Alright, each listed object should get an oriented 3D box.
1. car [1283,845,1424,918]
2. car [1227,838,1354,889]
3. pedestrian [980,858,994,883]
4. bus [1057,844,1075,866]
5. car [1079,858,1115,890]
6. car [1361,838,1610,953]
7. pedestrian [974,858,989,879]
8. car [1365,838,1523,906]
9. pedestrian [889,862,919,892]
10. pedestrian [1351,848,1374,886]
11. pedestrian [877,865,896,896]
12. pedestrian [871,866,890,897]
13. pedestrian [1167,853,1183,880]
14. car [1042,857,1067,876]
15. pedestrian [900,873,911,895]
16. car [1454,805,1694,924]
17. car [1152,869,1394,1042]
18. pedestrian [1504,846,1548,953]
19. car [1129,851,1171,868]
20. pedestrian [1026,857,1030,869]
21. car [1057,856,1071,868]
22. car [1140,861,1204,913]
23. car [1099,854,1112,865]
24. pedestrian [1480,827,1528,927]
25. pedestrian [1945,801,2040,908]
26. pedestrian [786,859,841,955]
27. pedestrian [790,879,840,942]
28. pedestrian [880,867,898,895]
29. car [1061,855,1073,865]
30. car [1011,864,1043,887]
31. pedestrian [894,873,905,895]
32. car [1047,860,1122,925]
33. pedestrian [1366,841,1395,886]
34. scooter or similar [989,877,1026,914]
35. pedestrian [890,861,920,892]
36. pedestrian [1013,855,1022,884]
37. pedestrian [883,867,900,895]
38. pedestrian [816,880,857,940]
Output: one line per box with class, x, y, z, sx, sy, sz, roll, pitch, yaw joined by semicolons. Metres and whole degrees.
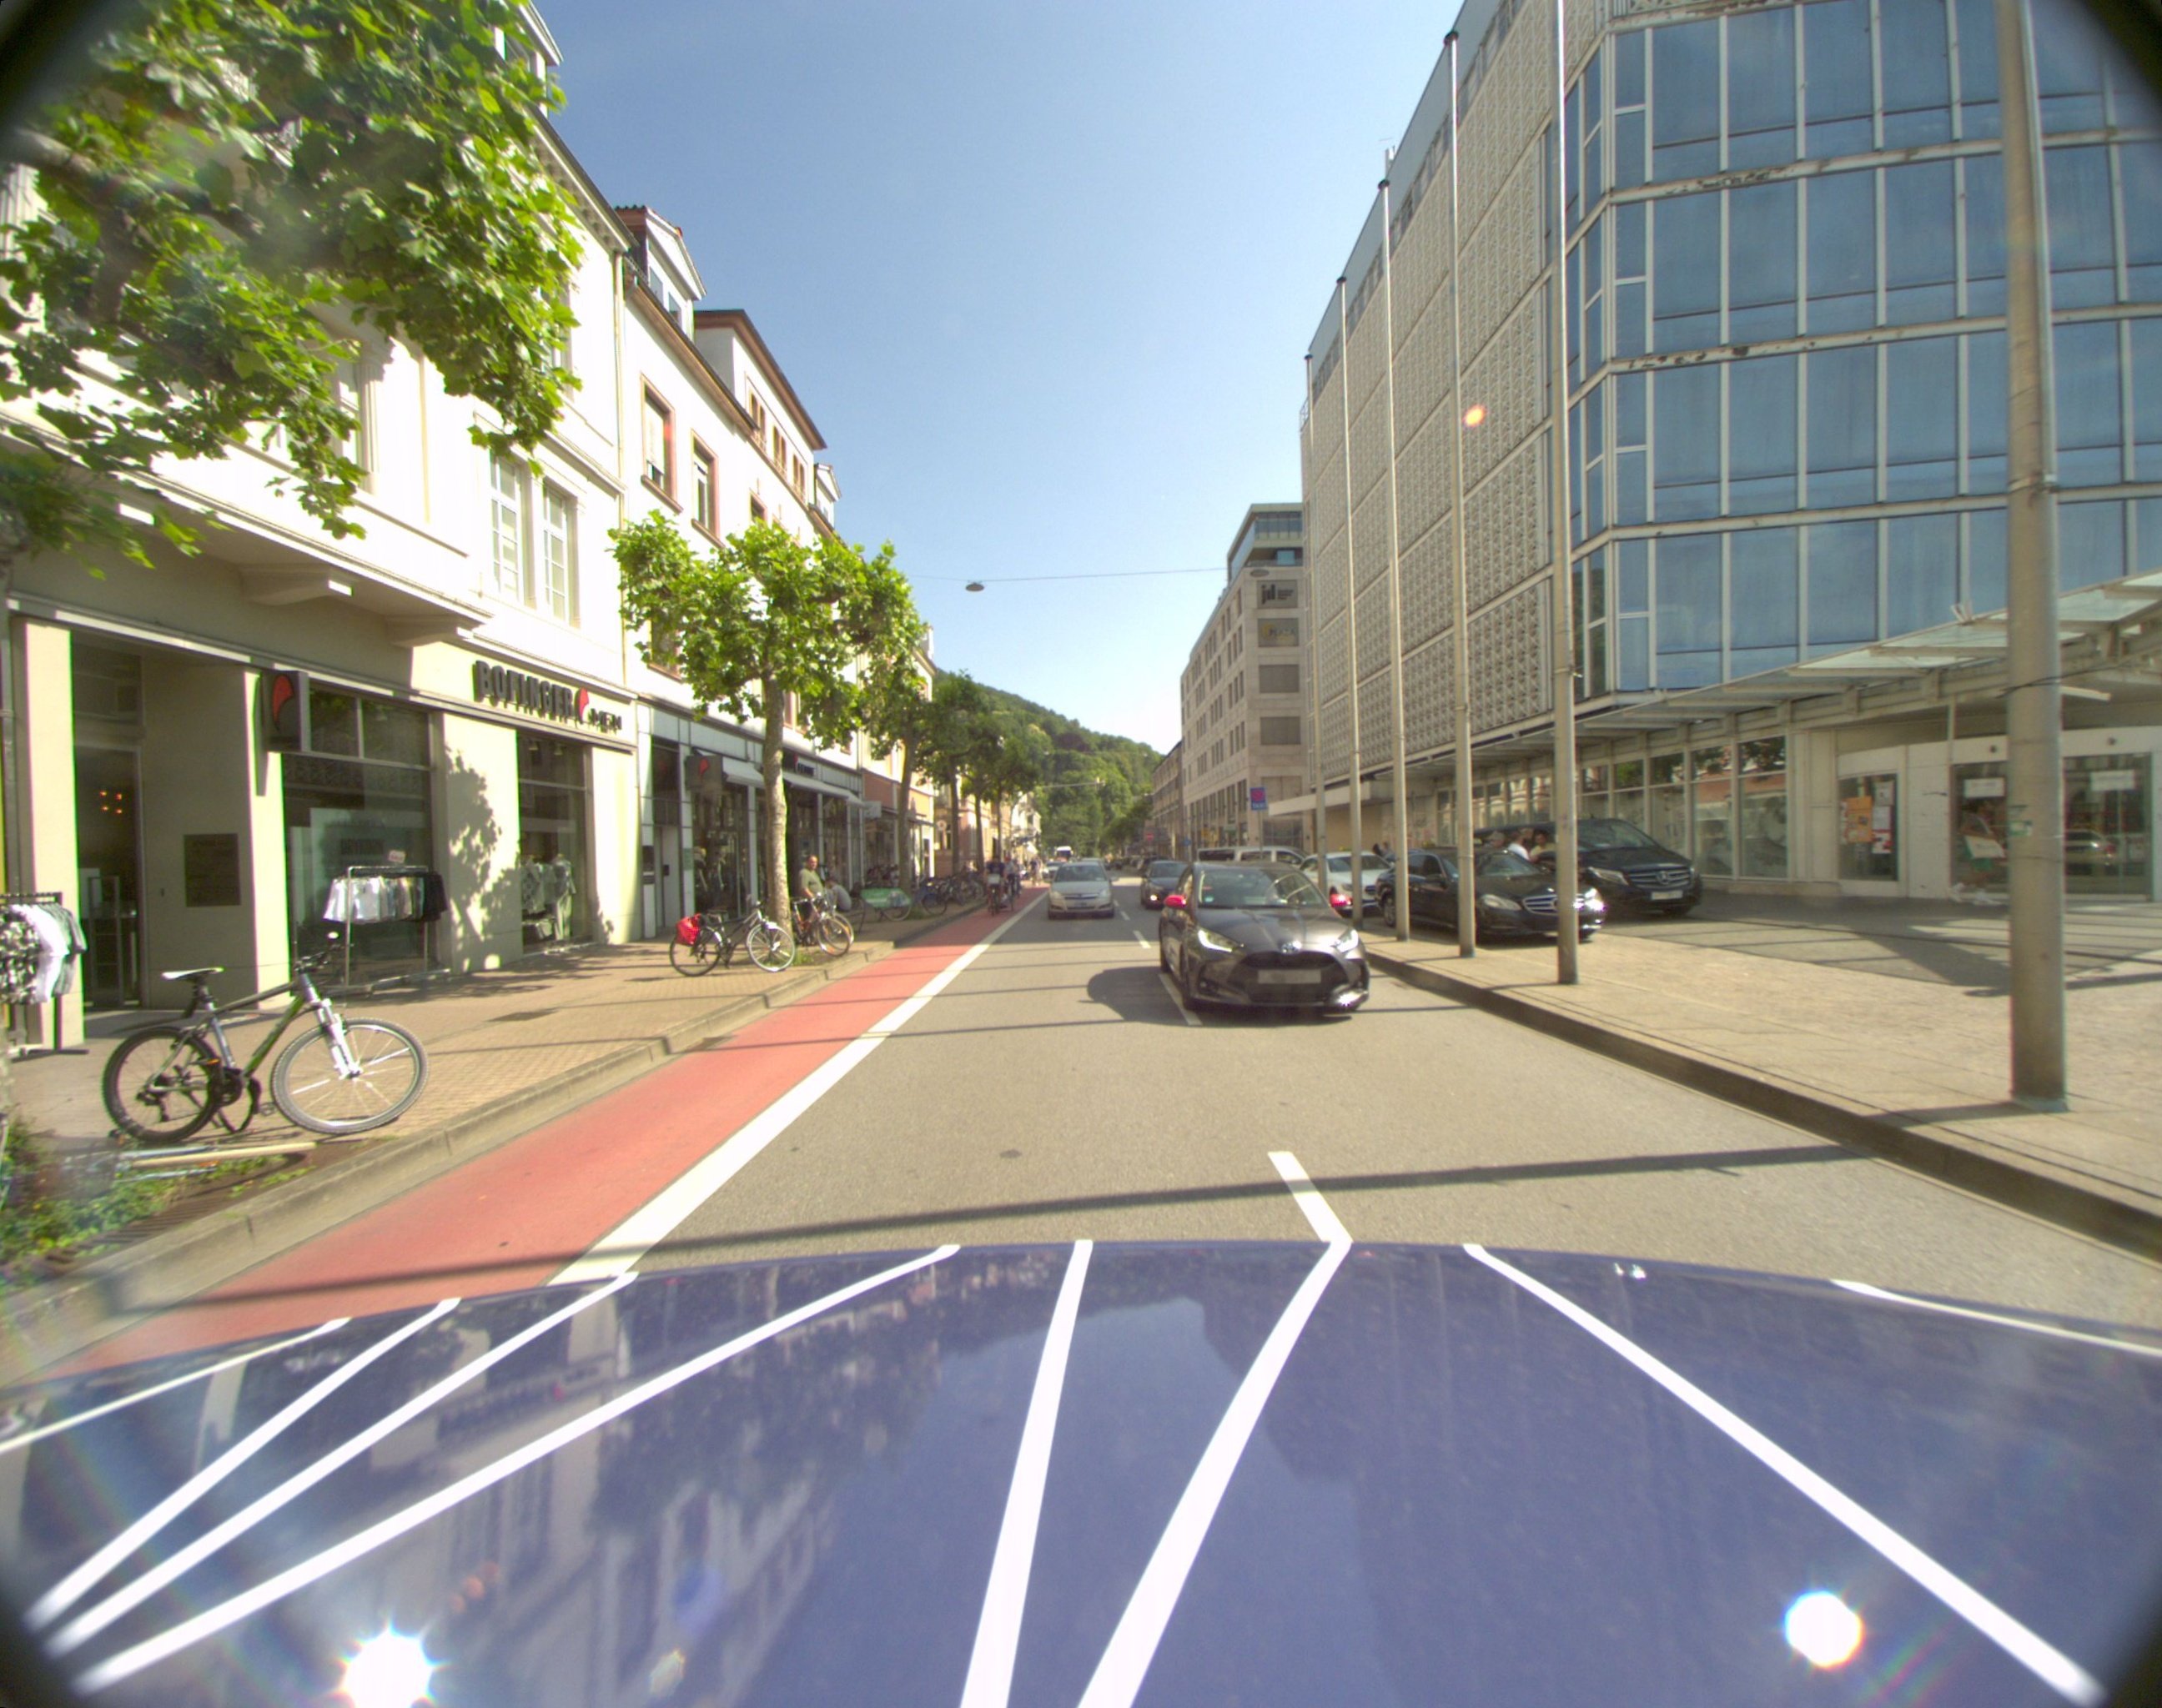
car;6.583;0.607;18.977;1.803;1.514;4.739;-3;0;1
car;8.342;0.397;30.460;4.434;1.898;2.013;-2;0;37
pedestrian;-6.412;1.119;51.698;0.640;1.648;0.791;-2;-2;15
bus;-2.557;0.141;131.401;2.924;3.516;12.497;-1;0;-1
car;0.814;1.014;40.773;1.775;1.469;4.106;-3;1;0
car;6.631;0.592;13.178;1.765;1.590;4.709;-2;0;0
pedestrian;-8.003;1.129;60.943;0.904;1.603;0.974;-1;4;-28
car;9.859;0.438;21.093;1.999;1.601;4.398;-3;0;-4
pedestrian;-8.627;1.113;37.066;1.236;1.414;0.789;-1;2;-2
pedestrian;11.012;0.497;29.735;0.594;1.428;0.641;-5;2;-2
pedestrian;-8.656;1.182;33.745;0.683;1.330;0.532;-1;0;-2
pedestrian;-8.741;1.194;33.149;0.683;1.325;0.532;-2;0;-2
pedestrian;5.559;0.722;44.971;0.641;1.550;0.680;-3;0;-11
car;-2.236;1.065;66.028;1.957;1.416;4.886;-3;0;-1
pedestrian;-8.042;1.357;34.765;0.365;0.962;0.437;-2;0;2
car;9.670;0.180;15.469;1.836;2.002;4.685;-2;0;1
car;1.854;0.916;8.639;1.868;1.469;4.108;0;-1;2
pedestrian;7.684;0.770;13.128;0.531;1.782;0.540;-1;1;40
car;8.095;0.640;89.329;4.492;1.424;1.865;-7;0;20
pedestrian;-7.443;1.291;107.288;0.482;1.659;0.868;-1;0;0
car;-2.493;1.082;110.663;1.799;1.515;4.262;-5;1;-2
car;2.784;0.975;24.021;1.733;1.389;4.107;-1;0;3
car;3.368;0.721;105.914;1.734;1.389;4.106;-2;0;1
pedestrian;7.853;0.415;14.098;0.618;1.782;0.694;-1;1;40
pedestrian;14.941;0.008;12.478;0.684;1.705;0.723;-1;1;10
pedestrian;-4.944;0.957;14.078;0.641;1.679;0.843;-3;0;-2
pedestrian;-5.562;1.169;15.923;0.789;1.236;0.576;-3;2;-2
pedestrian;-8.678;1.206;34.290;0.683;1.246;0.532;0;0;-2
car;-2.266;1.010;121.389;1.868;1.479;4.414;-2;0;-2
car;-4.207;1.663;59.596;1.631;1.470;3.732;-2;3;9
pedestrian;-8.151;1.348;34.099;0.342;0.962;0.437;-2;0;2
car;0.017;0.962;20.782;1.791;1.483;4.367;-1;0;-2
pedestrian;11.710;0.365;29.712;0.789;1.651;0.641;-5;2;-2
scooter or similar;-2.301;1.283;23.905;0.784;1.054;1.126;-3;0;11
pedestrian;-8.777;1.093;37.929;1.255;1.475;0.837;-2;1;-2
pedestrian;-4.055;0.997;48.453;0.453;1.784;0.608;-3;0;-2
pedestrian;-8.686;1.225;34.888;0.641;1.246;0.608;0;2;-2
pedestrian;-5.315;1.218;16.561;0.641;1.226;0.596;-3;2;-2
